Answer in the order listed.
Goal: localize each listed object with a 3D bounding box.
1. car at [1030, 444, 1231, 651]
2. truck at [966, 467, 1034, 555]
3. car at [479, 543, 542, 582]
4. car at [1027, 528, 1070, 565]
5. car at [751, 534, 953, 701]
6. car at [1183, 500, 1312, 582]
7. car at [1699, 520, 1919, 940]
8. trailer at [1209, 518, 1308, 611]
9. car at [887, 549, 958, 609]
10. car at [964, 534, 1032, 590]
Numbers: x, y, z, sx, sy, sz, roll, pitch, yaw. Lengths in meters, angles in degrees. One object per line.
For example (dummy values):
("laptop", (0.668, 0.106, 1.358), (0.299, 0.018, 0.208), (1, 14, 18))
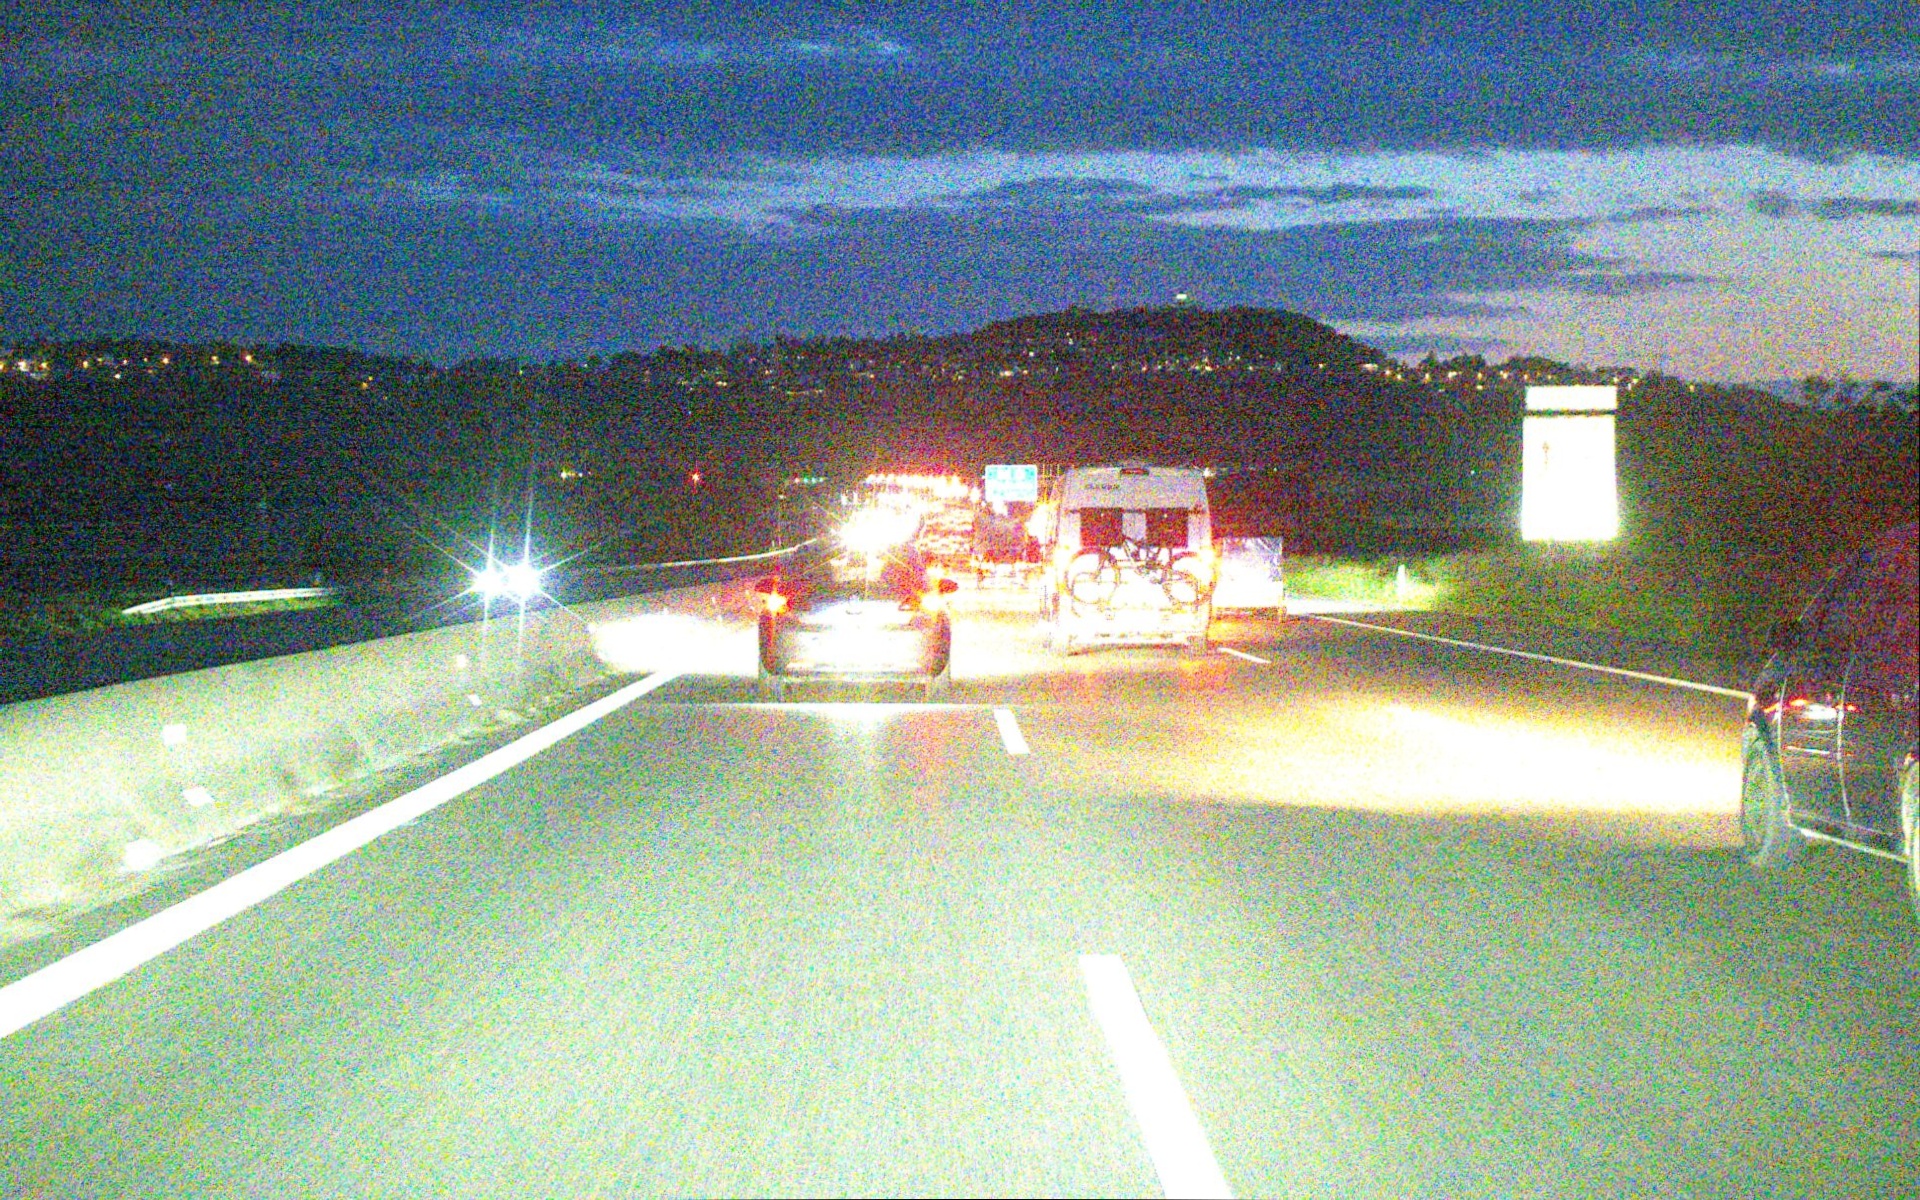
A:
("car", (2.180, -0.734, 45.659), (2.351, 2.526, 5.701), (-1, 2, 0))
("truck", (1.815, -4.071, 158.795), (2.781, 3.942, 7.994), (-1, 1, -2))
("car", (-18.001, -1.515, 137.847), (1.993, 1.414, 4.984), (-3, 1, -2))
("car", (5.150, -3.132, 201.063), (2.351, 2.068, 4.723), (-1, 2, 0))
("car", (-0.973, 0.123, 32.683), (1.793, 1.464, 3.773), (0, 2, 0))
("car", (5.656, -1.185, 68.117), (2.163, 1.558, 4.723), (0, 1, 0))
("car", (4.445, 0.467, 14.424), (1.646, 1.591, 4.510), (0, 1, -1))
("trailer", (5.576, -0.685, 64.439), (1.566, 1.687, 2.821), (-1, 1, 0))
("car", (-0.956, -0.578, 89.694), (1.744, 1.435, 4.368), (-1, 2, 0))
("car", (1.351, -1.369, 122.993), (2.351, 1.907, 4.723), (-1, 1, 0))
